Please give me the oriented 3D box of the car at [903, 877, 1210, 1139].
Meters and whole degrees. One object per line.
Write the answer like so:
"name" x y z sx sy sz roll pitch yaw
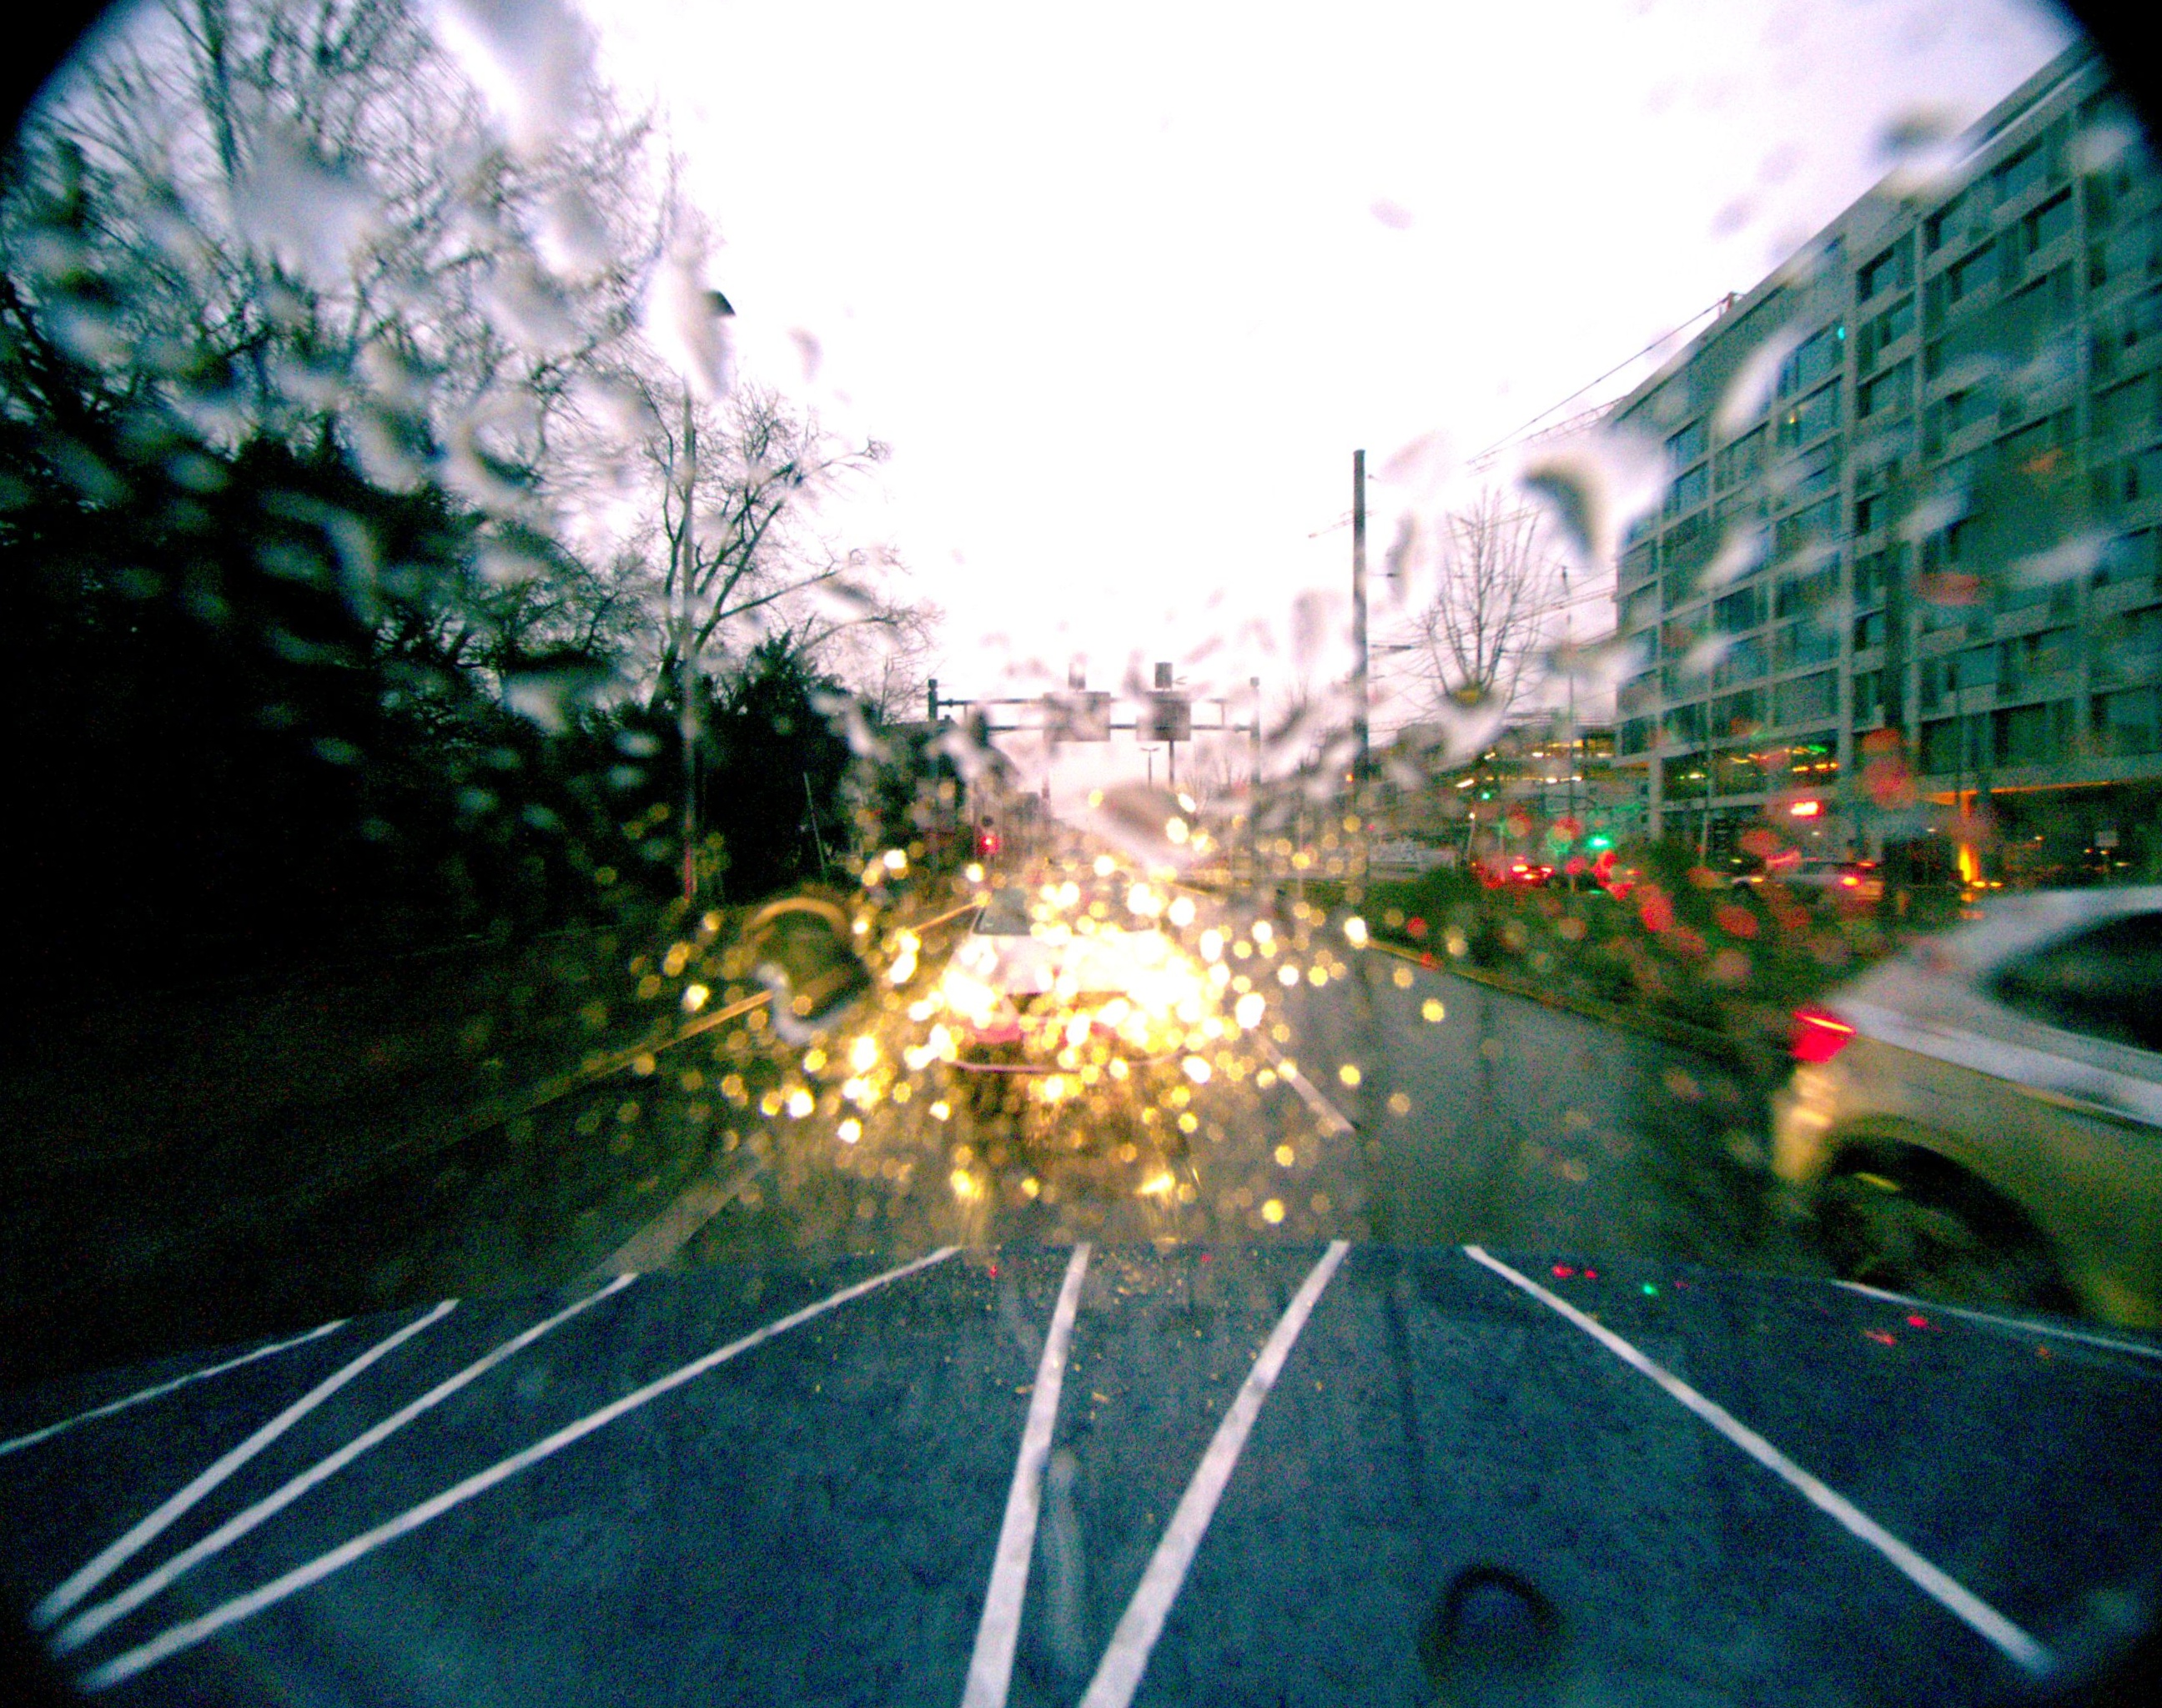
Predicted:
"car" -0.148 0.983 6.543 1.798 1.363 3.981 -2 1 0

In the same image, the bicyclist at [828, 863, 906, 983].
"bicyclist" -2.587 0.802 9.257 0.647 1.381 0.890 0 1 3

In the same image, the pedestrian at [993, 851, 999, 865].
"pedestrian" -9.431 0.440 84.449 0.521 1.501 0.588 0 1 1

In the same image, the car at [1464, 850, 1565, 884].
"car" 20.383 0.568 36.023 1.998 1.459 5.034 0 0 1

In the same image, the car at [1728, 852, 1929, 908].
"car" 20.396 0.649 20.976 1.901 1.423 3.706 0 0 0

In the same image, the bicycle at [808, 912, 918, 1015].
"bicycle" -2.595 1.272 9.282 0.647 0.961 2.047 0 0 3

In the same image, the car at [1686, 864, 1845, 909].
"car" 26.296 1.204 29.457 1.900 1.507 4.792 0 0 1

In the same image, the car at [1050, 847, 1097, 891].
"car" -0.290 0.566 31.326 1.781 1.666 3.980 -2 1 0

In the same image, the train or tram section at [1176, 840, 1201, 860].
"train or tram section" 19.246 -0.649 136.812 2.964 3.466 14.268 0 0 2

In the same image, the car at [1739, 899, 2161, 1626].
"car" 3.042 0.861 0.502 1.767 1.363 3.981 -2 1 0

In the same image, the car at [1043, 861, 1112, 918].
"car" -0.085 0.930 21.435 1.728 1.318 3.981 -2 1 0

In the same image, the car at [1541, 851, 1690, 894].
"car" 20.417 0.662 29.298 2.001 1.488 4.444 0 0 -15

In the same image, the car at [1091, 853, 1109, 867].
"car" 1.889 0.589 76.331 1.767 1.363 3.981 -2 1 1
